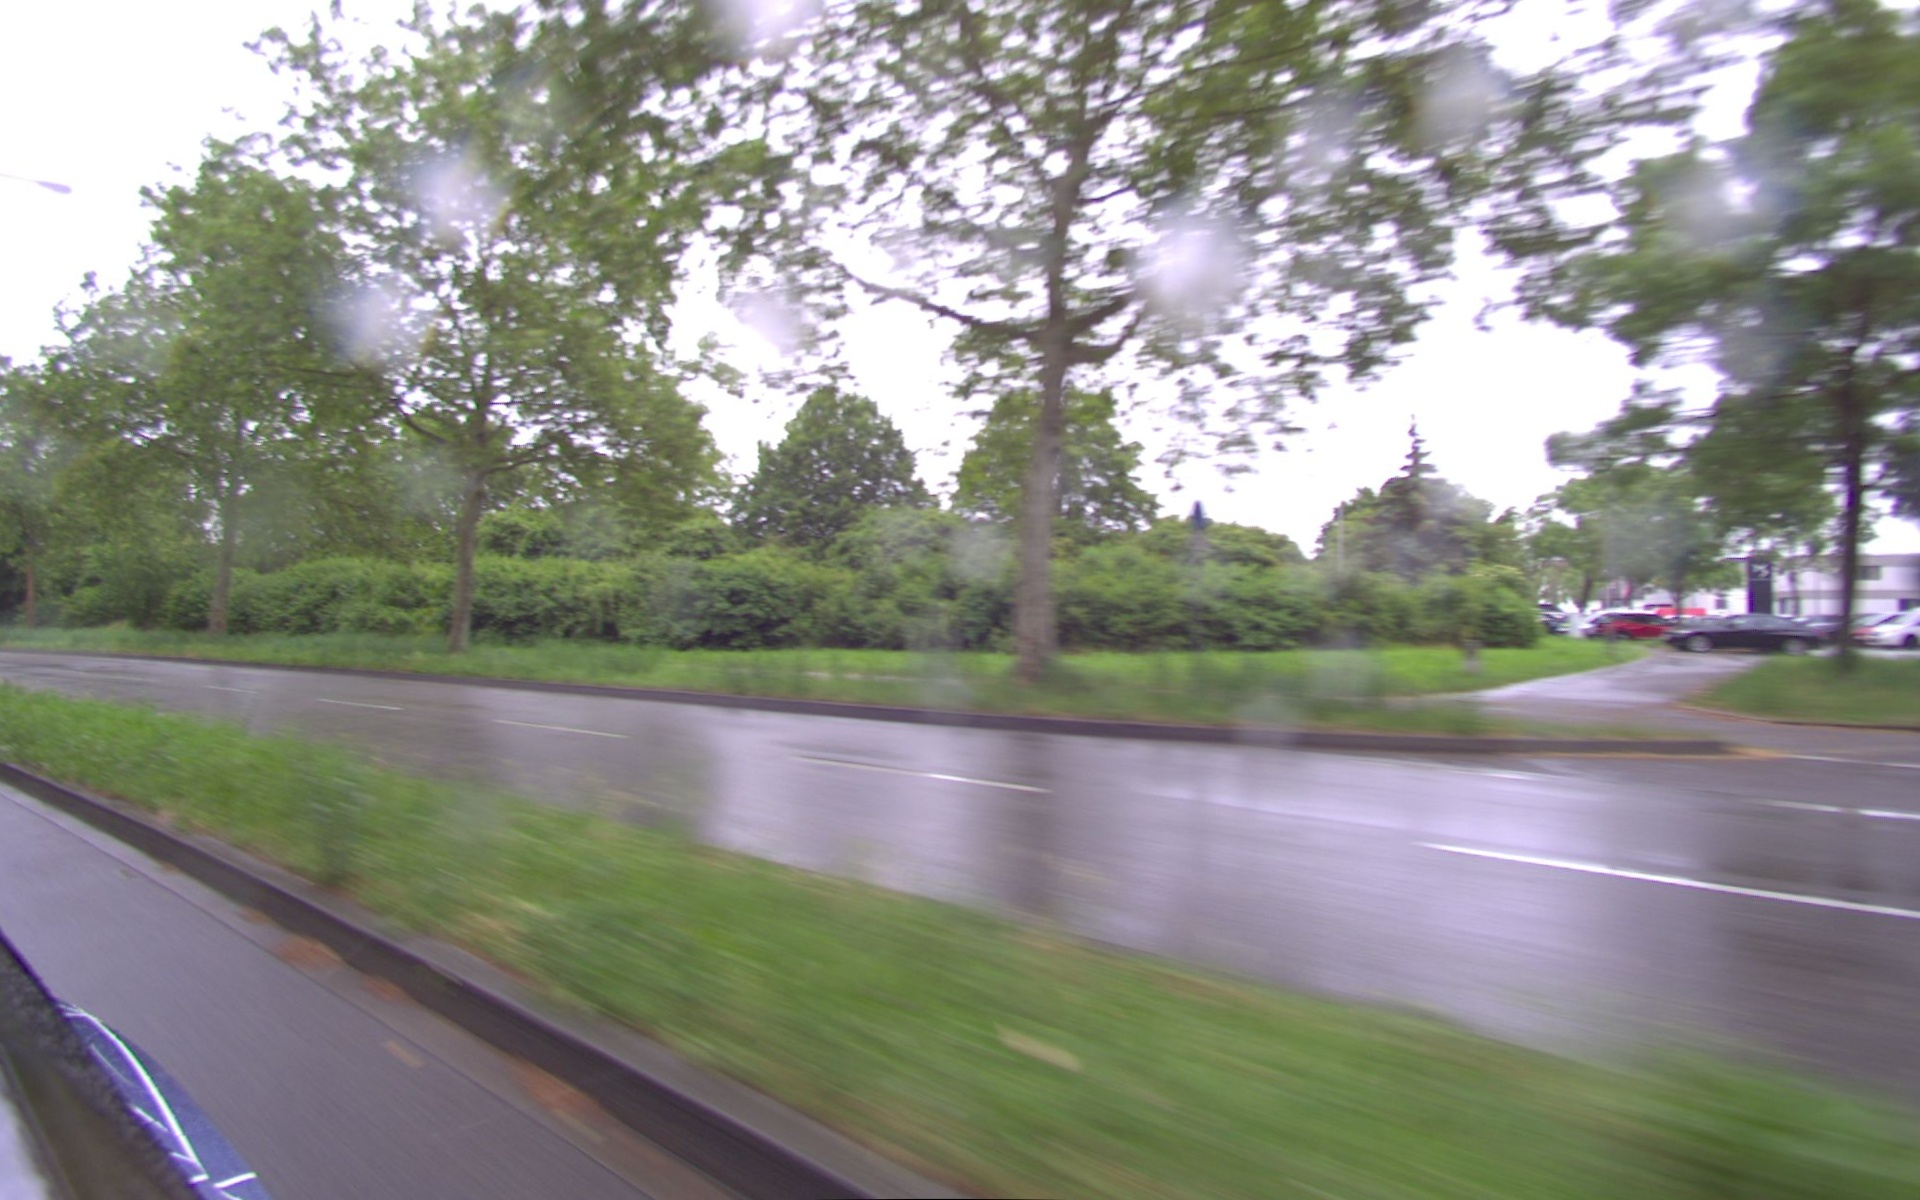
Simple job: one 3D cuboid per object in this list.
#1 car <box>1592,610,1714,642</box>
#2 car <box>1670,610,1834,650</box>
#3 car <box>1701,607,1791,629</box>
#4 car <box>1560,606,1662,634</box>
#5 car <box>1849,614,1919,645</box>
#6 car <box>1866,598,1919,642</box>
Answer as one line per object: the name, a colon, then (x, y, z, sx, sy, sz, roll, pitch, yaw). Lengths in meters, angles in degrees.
car: (30.805, 1.178, 45.111, 4.176, 1.368, 1.586, -1, -1, 22)
car: (28.064, 1.078, 36.033, 4.263, 1.368, 1.586, -1, -1, 22)
car: (49.970, 1.165, 64.443, 4.176, 1.368, 1.586, -1, -1, 22)
car: (33.554, 1.051, 52.272, 4.176, 1.368, 1.586, -1, -1, 22)
car: (43.614, 1.327, 46.221, 4.176, 1.368, 1.586, -1, -1, 22)
car: (42.508, 0.825, 43.321, 5.193, 1.878, 1.781, -1, -1, 21)
